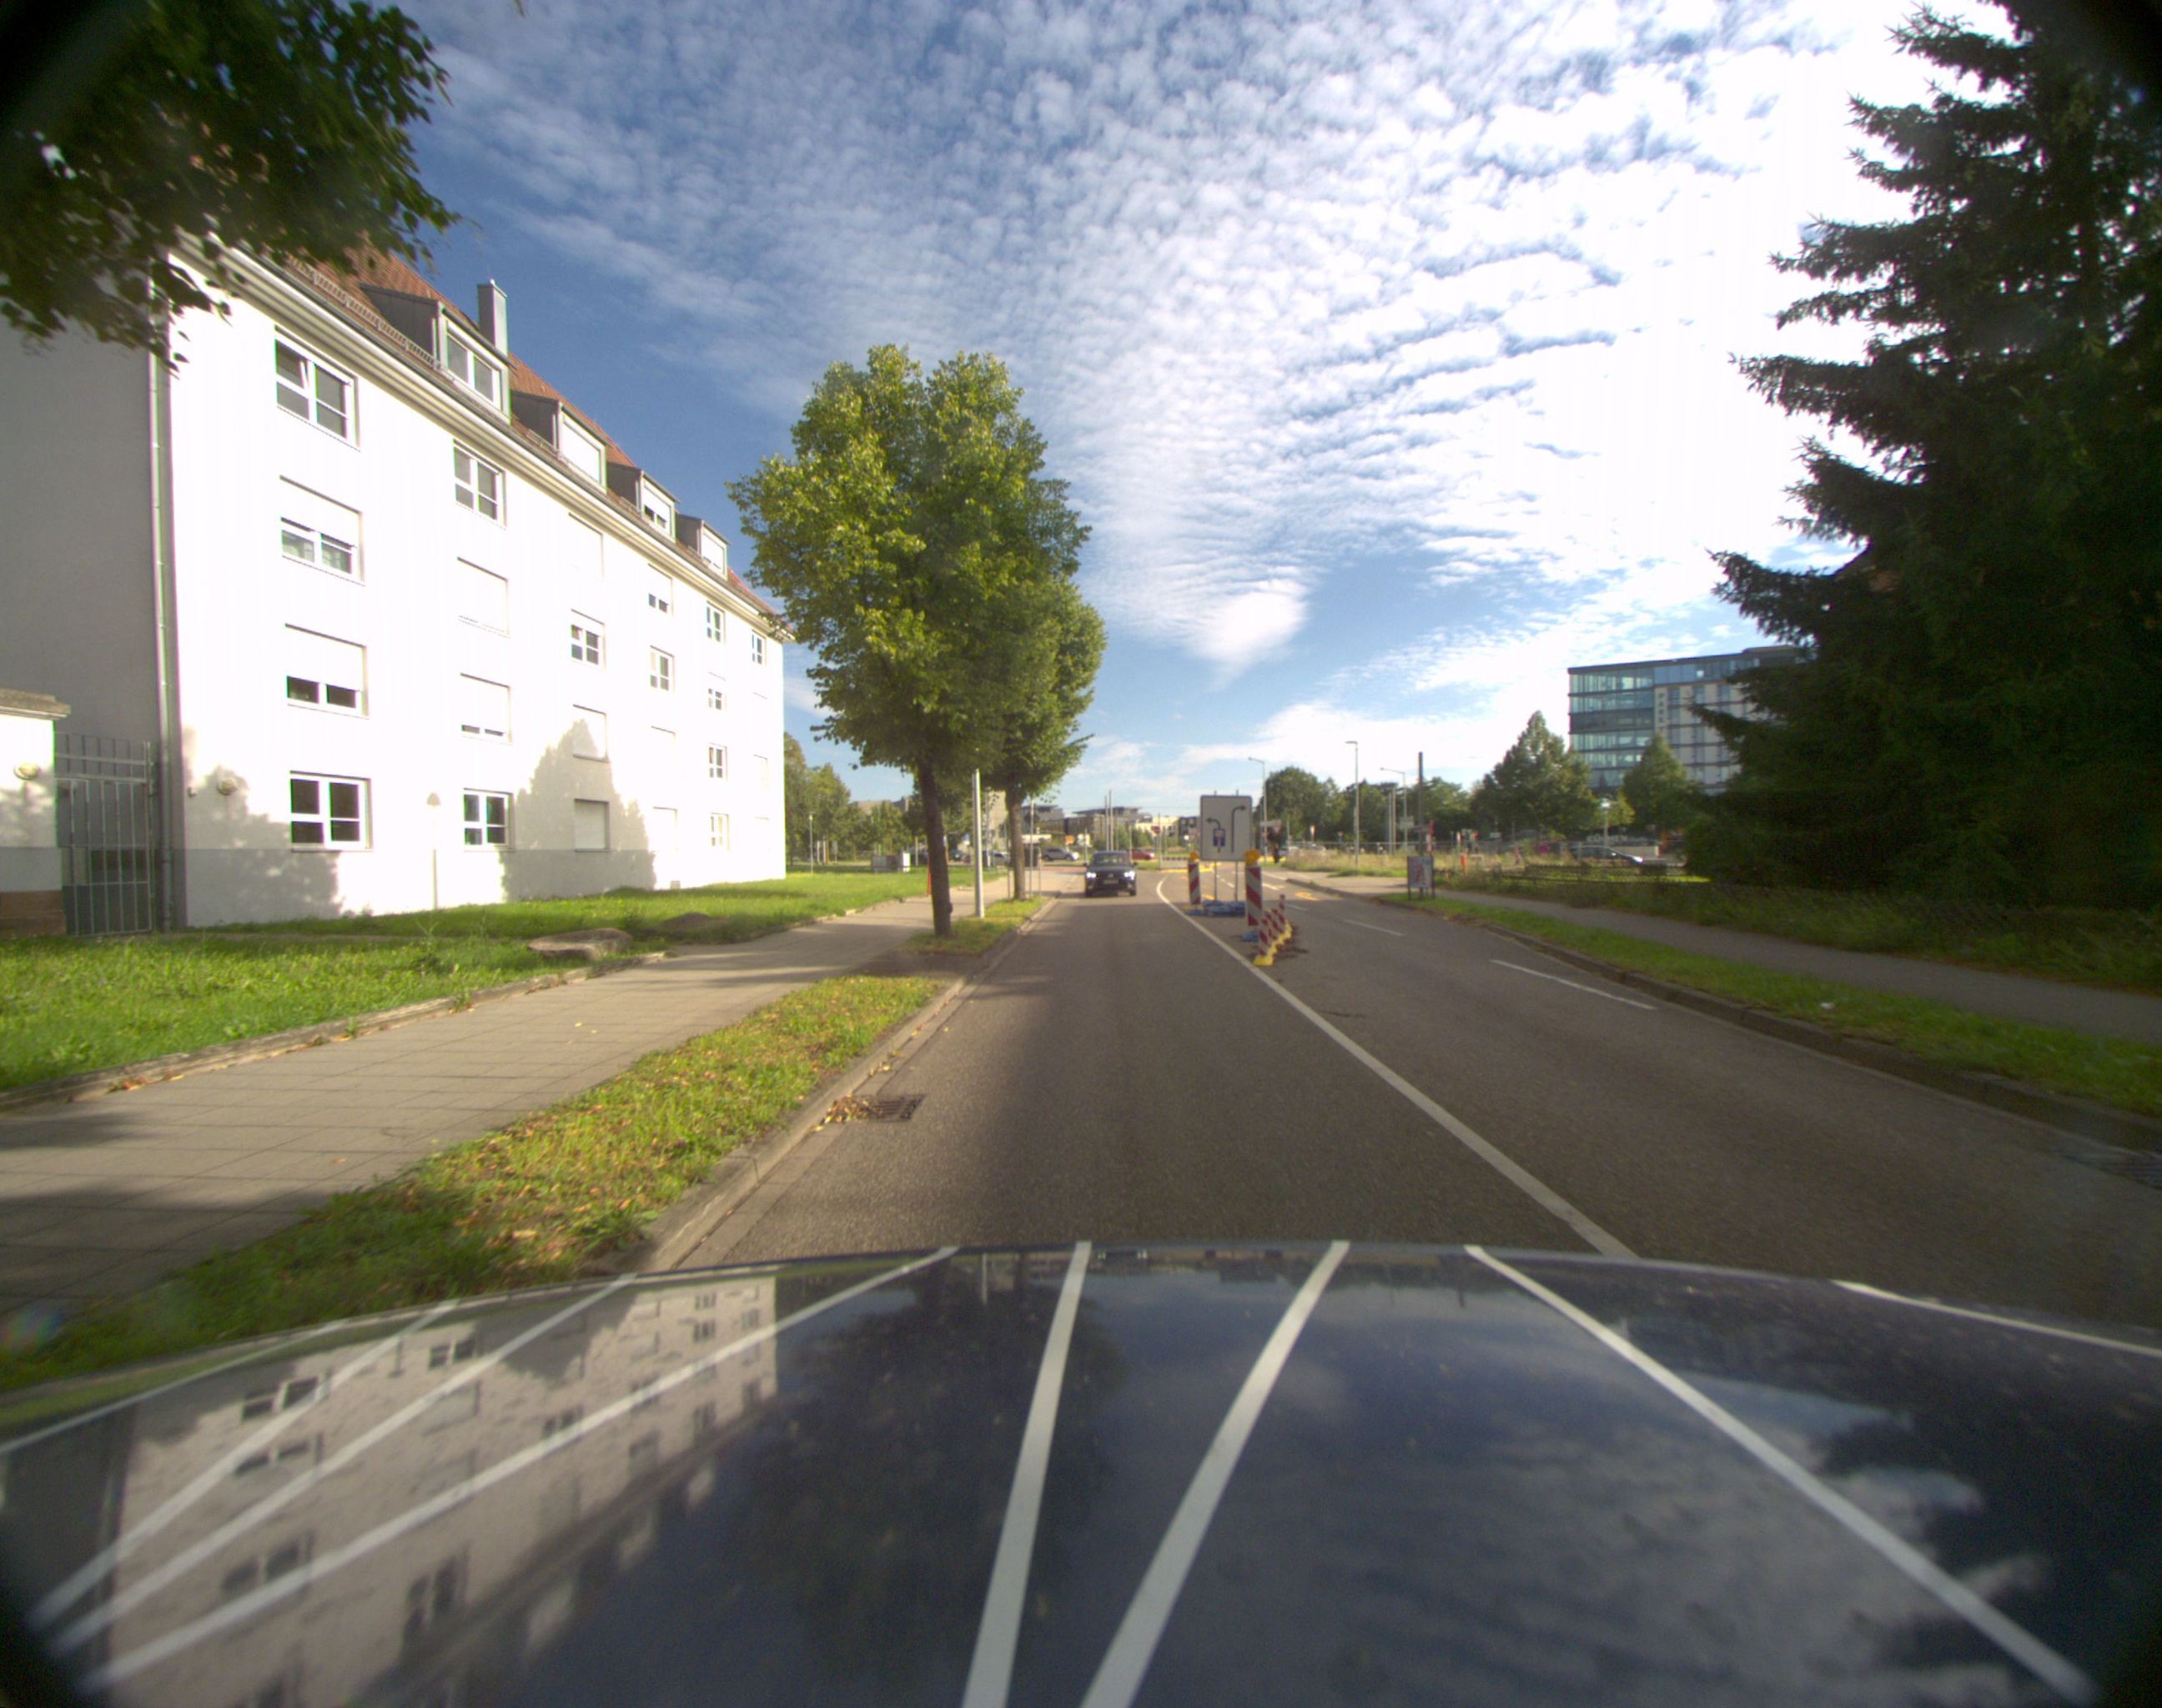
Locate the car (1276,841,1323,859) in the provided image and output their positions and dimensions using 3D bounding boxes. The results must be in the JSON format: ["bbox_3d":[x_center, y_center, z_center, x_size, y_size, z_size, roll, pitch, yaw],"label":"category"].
[{"bbox_3d":[27.459,-0.463,95.390,5.511,2.047,2.471,-3,2,-31],"label":"car"}]

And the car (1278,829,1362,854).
[{"bbox_3d":[19.798,-1.031,63.270,2.482,1.856,6.235,-3,2,-42],"label":"car"}]

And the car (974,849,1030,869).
[{"bbox_3d":[-7.770,0.497,74.281,5.389,1.856,1.843,-1,2,34],"label":"car"}]

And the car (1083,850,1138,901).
[{"bbox_3d":[1.119,0.724,27.768,1.821,1.648,4.243,-2,0,3],"label":"car"}]

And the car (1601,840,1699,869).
[{"bbox_3d":[34.707,0.038,46.435,2.003,1.648,4.402,-3,2,-35],"label":"car"}]

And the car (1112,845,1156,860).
[{"bbox_3d":[6.076,-0.130,86.622,4.864,1.515,2.306,-2,1,4],"label":"car"}]

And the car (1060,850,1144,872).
[{"bbox_3d":[1.468,0.491,54.712,5.971,1.461,2.046,-1,2,38],"label":"car"}]

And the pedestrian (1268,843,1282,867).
[{"bbox_3d":[15.187,0.067,59.378,0.710,1.813,0.744,-2,1,-18],"label":"pedestrian"}]

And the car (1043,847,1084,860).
[{"bbox_3d":[-2.012,-0.084,87.366,4.255,1.477,2.002,-1,1,14],"label":"car"}]
